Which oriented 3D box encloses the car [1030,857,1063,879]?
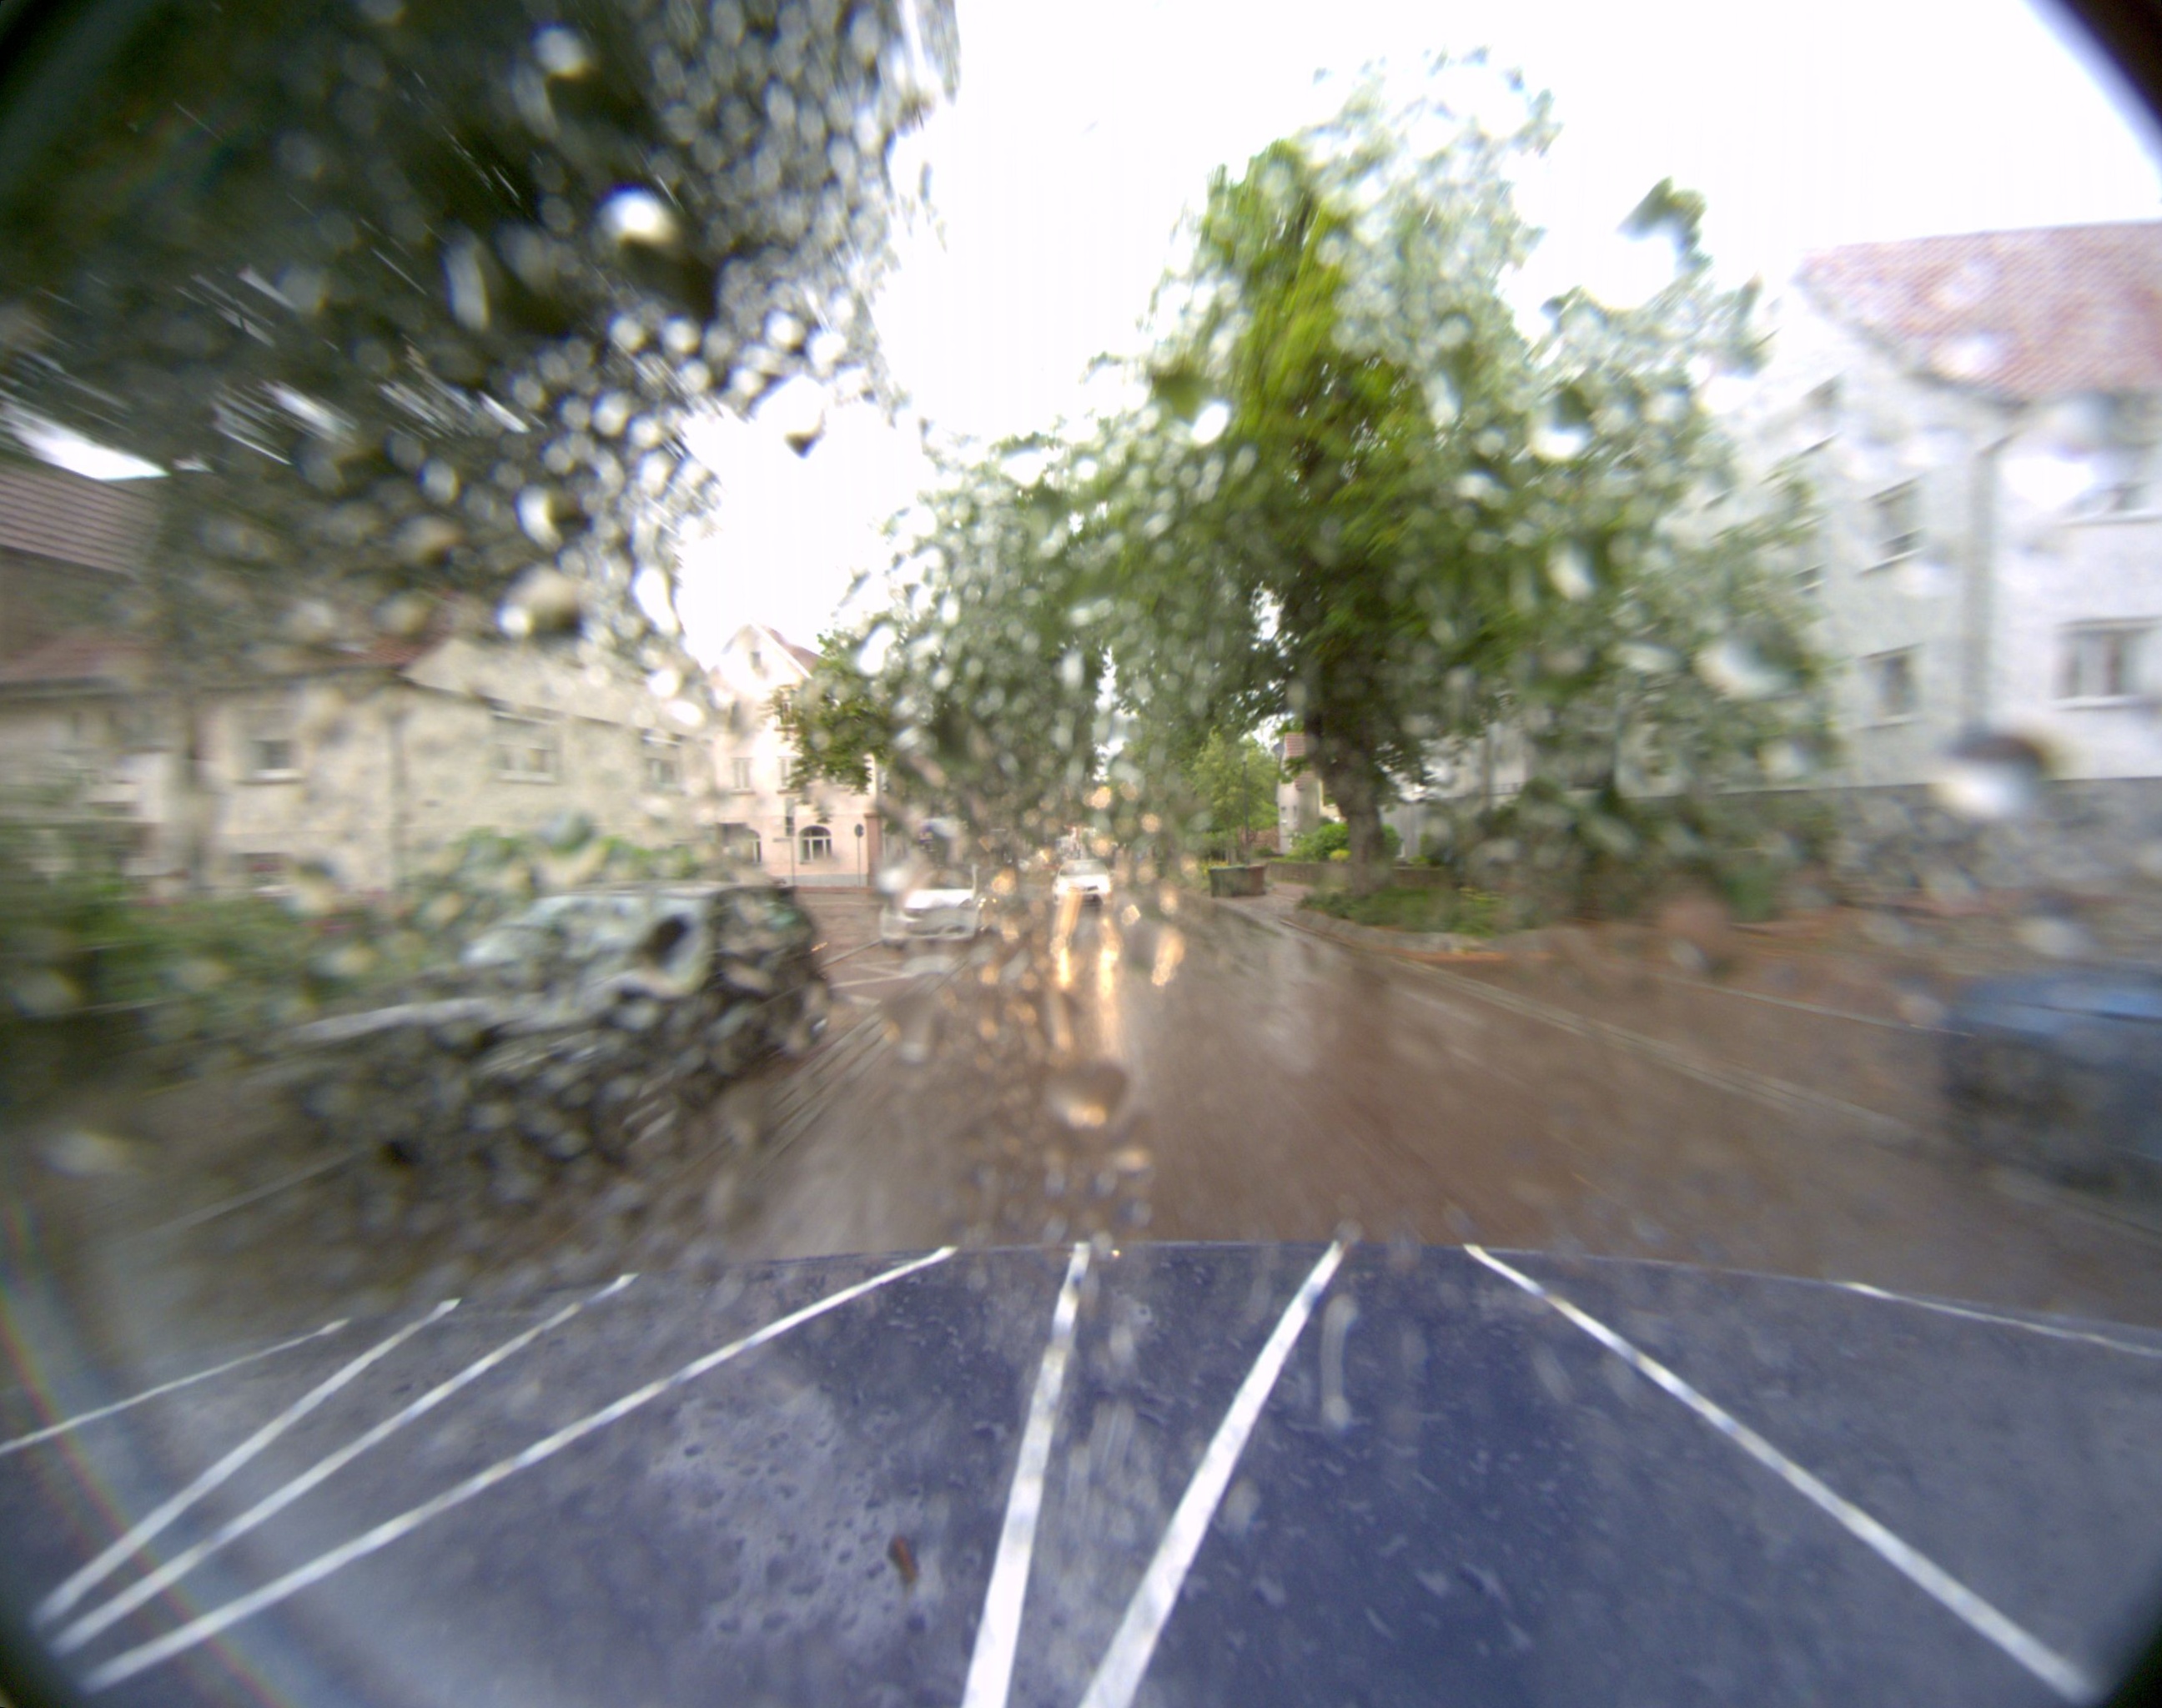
[{"bbox_3d":[-2.405,0.964,54.331,1.896,1.460,4.824,-1,0,3],"label":"car"}]

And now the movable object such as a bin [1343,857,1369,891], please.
[{"bbox_3d":[9.600,0.686,26.549,0.664,1.126,0.659,-2,1,3],"label":"movable object such as a bin"}]

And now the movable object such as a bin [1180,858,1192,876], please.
[{"bbox_3d":[6.525,0.813,47.367,0.618,1.053,0.561,-4,1,-1],"label":"movable object such as a bin"}]

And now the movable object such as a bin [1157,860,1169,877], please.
[{"bbox_3d":[5.164,0.913,47.994,0.629,1.053,0.565,-4,1,-1],"label":"movable object such as a bin"}]

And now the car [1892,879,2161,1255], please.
[{"bbox_3d":[5.054,0.854,2.035,1.754,1.388,3.796,-2,0,2],"label":"car"}]

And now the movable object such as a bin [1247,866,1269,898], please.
[{"bbox_3d":[6.144,0.952,26.353,0.665,1.068,0.596,-1,2,5],"label":"movable object such as a bin"}]

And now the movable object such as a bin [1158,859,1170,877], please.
[{"bbox_3d":[5.172,0.883,47.319,0.585,1.071,0.570,-4,1,-1],"label":"movable object such as a bin"}]

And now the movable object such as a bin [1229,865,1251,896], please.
[{"bbox_3d":[5.658,0.955,27.061,0.665,1.068,0.596,-1,2,5],"label":"movable object such as a bin"}]

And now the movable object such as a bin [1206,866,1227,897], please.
[{"bbox_3d":[4.832,0.980,27.108,0.665,1.068,0.596,-1,2,5],"label":"movable object such as a bin"}]

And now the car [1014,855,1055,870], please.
[{"bbox_3d":[-5.015,0.938,82.102,4.270,1.451,1.829,-2,0,-1],"label":"car"}]

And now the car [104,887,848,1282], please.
[{"bbox_3d":[-3.071,1.036,5.022,1.813,1.402,3.783,-2,0,1],"label":"car"}]

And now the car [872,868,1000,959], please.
[{"bbox_3d":[-2.601,1.018,14.459,1.685,1.391,3.794,-1,0,0],"label":"car"}]

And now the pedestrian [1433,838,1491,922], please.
[{"bbox_3d":[7.494,0.496,14.985,0.651,1.585,0.932,-2,1,1],"label":"pedestrian"}]

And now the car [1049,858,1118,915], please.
[{"bbox_3d":[0.158,0.913,22.863,1.828,1.451,3.876,-2,0,3],"label":"car"}]

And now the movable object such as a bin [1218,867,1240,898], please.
[{"bbox_3d":[5.141,0.985,26.437,0.665,1.061,0.596,-1,2,5],"label":"movable object such as a bin"}]

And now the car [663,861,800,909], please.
[{"bbox_3d":[-12.881,1.126,28.129,4.189,1.574,1.841,-2,1,7],"label":"car"}]

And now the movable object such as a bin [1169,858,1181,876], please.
[{"bbox_3d":[5.863,0.830,47.363,0.618,1.053,0.569,-4,1,-1],"label":"movable object such as a bin"}]
